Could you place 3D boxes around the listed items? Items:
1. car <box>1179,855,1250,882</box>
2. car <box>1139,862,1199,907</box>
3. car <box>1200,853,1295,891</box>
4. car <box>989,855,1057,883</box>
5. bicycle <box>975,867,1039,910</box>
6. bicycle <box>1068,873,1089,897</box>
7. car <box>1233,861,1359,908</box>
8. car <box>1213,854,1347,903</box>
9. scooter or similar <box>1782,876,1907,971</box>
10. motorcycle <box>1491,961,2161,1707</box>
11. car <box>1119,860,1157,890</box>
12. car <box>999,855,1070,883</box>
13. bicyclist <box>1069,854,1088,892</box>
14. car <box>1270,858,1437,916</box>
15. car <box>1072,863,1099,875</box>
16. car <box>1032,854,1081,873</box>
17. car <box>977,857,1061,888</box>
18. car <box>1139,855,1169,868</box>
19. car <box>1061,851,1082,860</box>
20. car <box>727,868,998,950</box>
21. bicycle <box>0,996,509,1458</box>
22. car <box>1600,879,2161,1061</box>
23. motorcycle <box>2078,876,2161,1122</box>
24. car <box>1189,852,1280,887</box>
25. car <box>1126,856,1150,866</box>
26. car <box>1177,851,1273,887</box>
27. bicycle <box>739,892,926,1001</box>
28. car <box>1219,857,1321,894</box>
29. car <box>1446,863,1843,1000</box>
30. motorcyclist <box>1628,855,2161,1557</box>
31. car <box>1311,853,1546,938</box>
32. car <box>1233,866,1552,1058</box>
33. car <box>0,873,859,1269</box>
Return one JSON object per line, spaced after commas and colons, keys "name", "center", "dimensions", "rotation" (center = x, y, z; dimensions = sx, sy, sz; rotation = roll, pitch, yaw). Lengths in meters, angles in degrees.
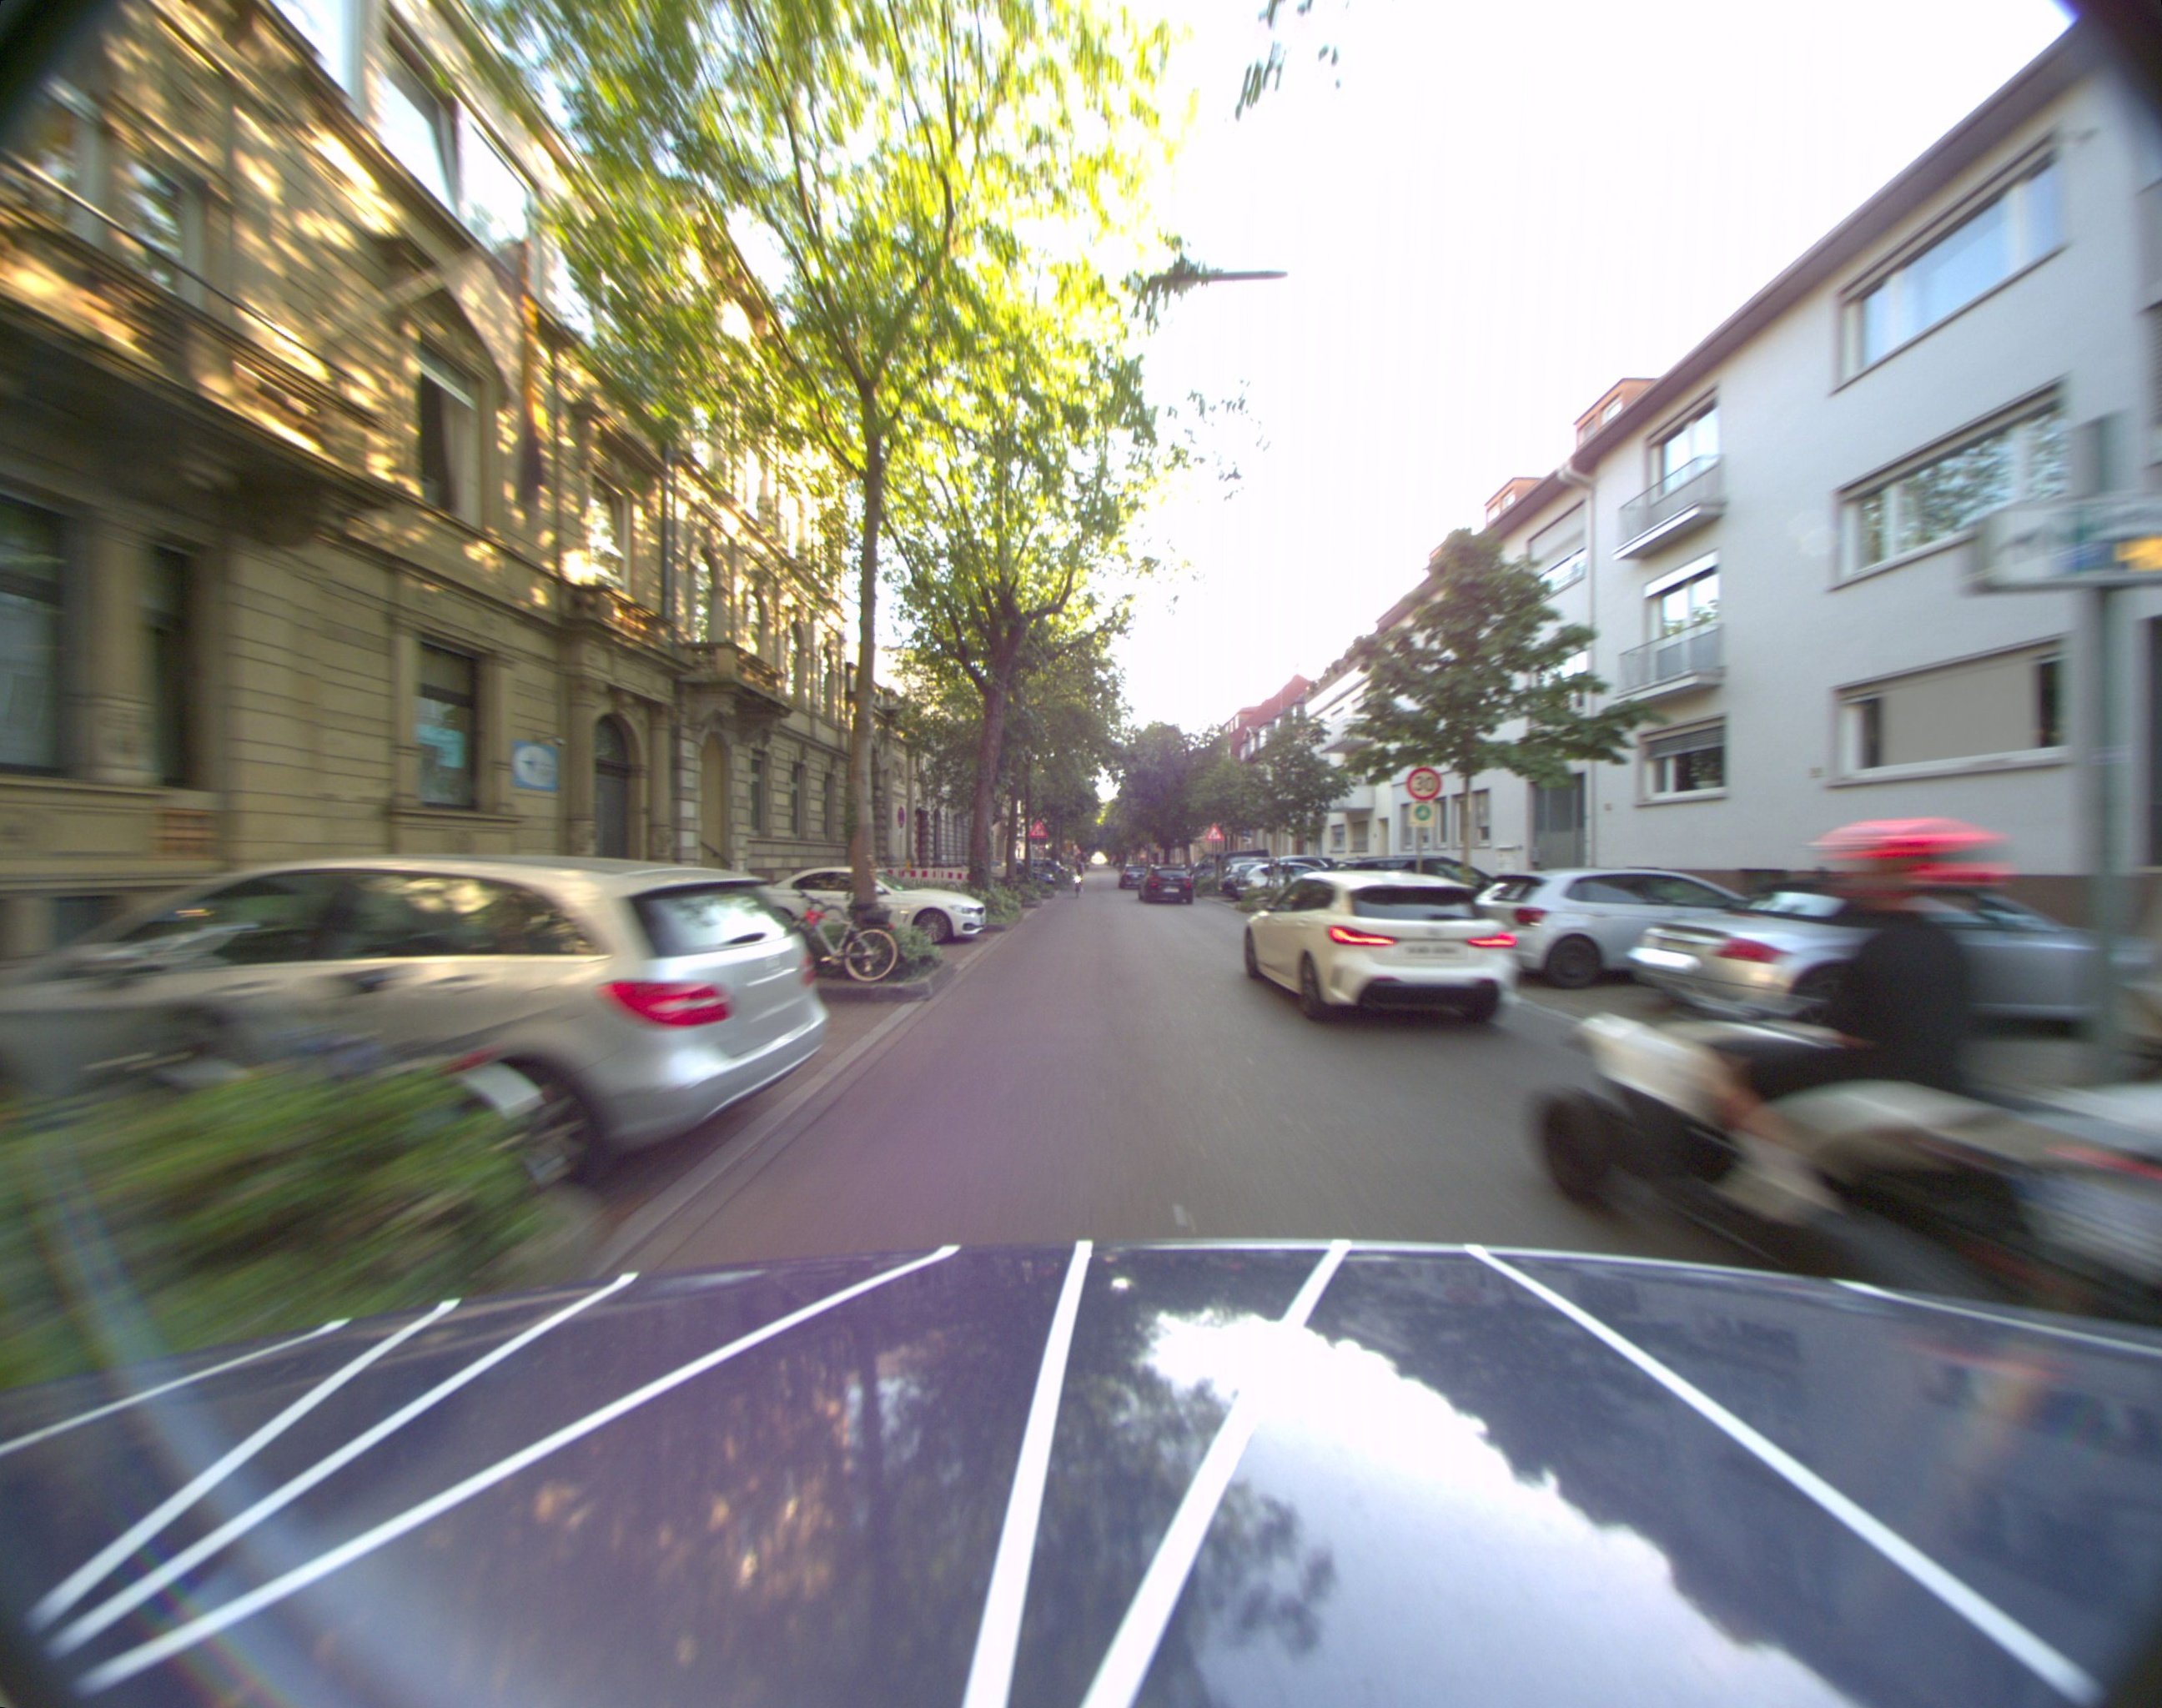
{"name": "car", "center": [8.767, 0.951, 50.099], "dimensions": [4.365, 1.530, 1.771], "rotation": [-3, 1, 1]}
{"name": "car", "center": [3.330, 1.134, 29.482], "dimensions": [1.881, 1.540, 4.275], "rotation": [1, 0, 1]}
{"name": "car", "center": [8.046, 0.848, 36.998], "dimensions": [4.164, 1.582, 1.824], "rotation": [-3, 0, 1]}
{"name": "car", "center": [-3.544, 0.946, 47.108], "dimensions": [4.017, 1.677, 1.765], "rotation": [0, 0, 1]}
{"name": "bicycle", "center": [-2.469, 1.154, 25.453], "dimensions": [2.051, 1.352, 0.508], "rotation": [-2, 0, -1]}
{"name": "bicycle", "center": [-0.099, 1.341, 33.130], "dimensions": [0.778, 0.967, 2.025], "rotation": [-1, 0, 4]}
{"name": "car", "center": [7.648, 1.063, 27.324], "dimensions": [4.037, 1.485, 1.781], "rotation": [-2, 0, 5]}
{"name": "car", "center": [7.688, 0.928, 29.731], "dimensions": [4.677, 1.755, 2.157], "rotation": [-1, 0, 1]}
{"name": "scooter or similar", "center": [11.250, 0.986, 11.259], "dimensions": [0.516, 1.254, 1.421], "rotation": [-1, 1, 5]}
{"name": "motorcycle", "center": [2.671, 1.070, 2.570], "dimensions": [1.315, 1.084, 2.396], "rotation": [0, 0, 1]}
{"name": "car", "center": [3.308, 1.208, 44.584], "dimensions": [1.881, 1.631, 4.646], "rotation": [0, 0, 0]}
{"name": "car", "center": [-3.006, 0.978, 49.574], "dimensions": [4.451, 1.708, 1.968], "rotation": [1, 1, 1]}
{"name": "bicyclist", "center": [-0.101, 0.831, 33.064], "dimensions": [0.753, 1.612, 1.147], "rotation": [-1, 0, 4]}
{"name": "car", "center": [7.638, 0.905, 21.602], "dimensions": [4.084, 1.432, 1.755], "rotation": [-2, 0, 2]}
{"name": "car", "center": [0.557, 1.923, 100.351], "dimensions": [3.552, 1.411, 1.590], "rotation": [-3, 0, -1]}
{"name": "car", "center": [-2.366, 0.942, 73.666], "dimensions": [4.420, 1.552, 1.868], "rotation": [3, 0, 8]}
{"name": "car", "center": [-3.265, 0.969, 40.513], "dimensions": [4.234, 1.472, 1.855], "rotation": [2, 0, 1]}
{"name": "car", "center": [9.018, 0.936, 93.720], "dimensions": [3.497, 1.397, 1.673], "rotation": [-3, 0, -1]}
{"name": "car", "center": [-1.718, 0.321, 137.729], "dimensions": [3.551, 1.411, 1.591], "rotation": [-3, 0, 1]}
{"name": "car", "center": [-4.031, 0.993, 14.528], "dimensions": [4.594, 1.429, 1.926], "rotation": [0, 0, 3]}
{"name": "bicycle", "center": [-2.653, 1.097, 2.384], "dimensions": [1.340, 1.197, 0.488], "rotation": [1, 0, 0]}
{"name": "car", "center": [7.362, 0.978, 7.064], "dimensions": [3.748, 1.303, 1.844], "rotation": [-2, 0, 3]}
{"name": "motorcycle", "center": [7.316, 0.857, 4.088], "dimensions": [2.150, 1.411, 0.969], "rotation": [0, 1, 22]}
{"name": "car", "center": [8.013, 0.795, 39.960], "dimensions": [4.365, 1.563, 1.931], "rotation": [-3, 0, 1]}
{"name": "car", "center": [9.068, 1.122, 120.887], "dimensions": [3.551, 1.411, 1.591], "rotation": [-3, 0, 1]}
{"name": "car", "center": [7.989, 0.827, 42.644], "dimensions": [5.002, 1.979, 2.190], "rotation": [0, 0, 2]}
{"name": "bicycle", "center": [-2.875, 1.078, 8.951], "dimensions": [2.026, 1.197, 0.488], "rotation": [2, 0, -11]}
{"name": "car", "center": [7.980, 0.917, 32.362], "dimensions": [3.854, 1.442, 1.855], "rotation": [-1, -1, 1]}
{"name": "car", "center": [6.971, 0.913, 9.710], "dimensions": [3.751, 1.450, 1.735], "rotation": [-2, 0, 0]}
{"name": "motorcyclist", "center": [2.644, 0.796, 2.244], "dimensions": [1.283, 1.582, 1.077], "rotation": [0, 0, 1]}
{"name": "car", "center": [7.233, 0.838, 16.158], "dimensions": [4.102, 1.622, 1.936], "rotation": [-1, 0, 2]}
{"name": "car", "center": [3.043, 0.945, 8.521], "dimensions": [1.881, 1.540, 4.275], "rotation": [0, 0, 1]}
{"name": "car", "center": [-3.675, 0.915, 4.238], "dimensions": [4.234, 1.551, 1.971], "rotation": [0, 0, 4]}
